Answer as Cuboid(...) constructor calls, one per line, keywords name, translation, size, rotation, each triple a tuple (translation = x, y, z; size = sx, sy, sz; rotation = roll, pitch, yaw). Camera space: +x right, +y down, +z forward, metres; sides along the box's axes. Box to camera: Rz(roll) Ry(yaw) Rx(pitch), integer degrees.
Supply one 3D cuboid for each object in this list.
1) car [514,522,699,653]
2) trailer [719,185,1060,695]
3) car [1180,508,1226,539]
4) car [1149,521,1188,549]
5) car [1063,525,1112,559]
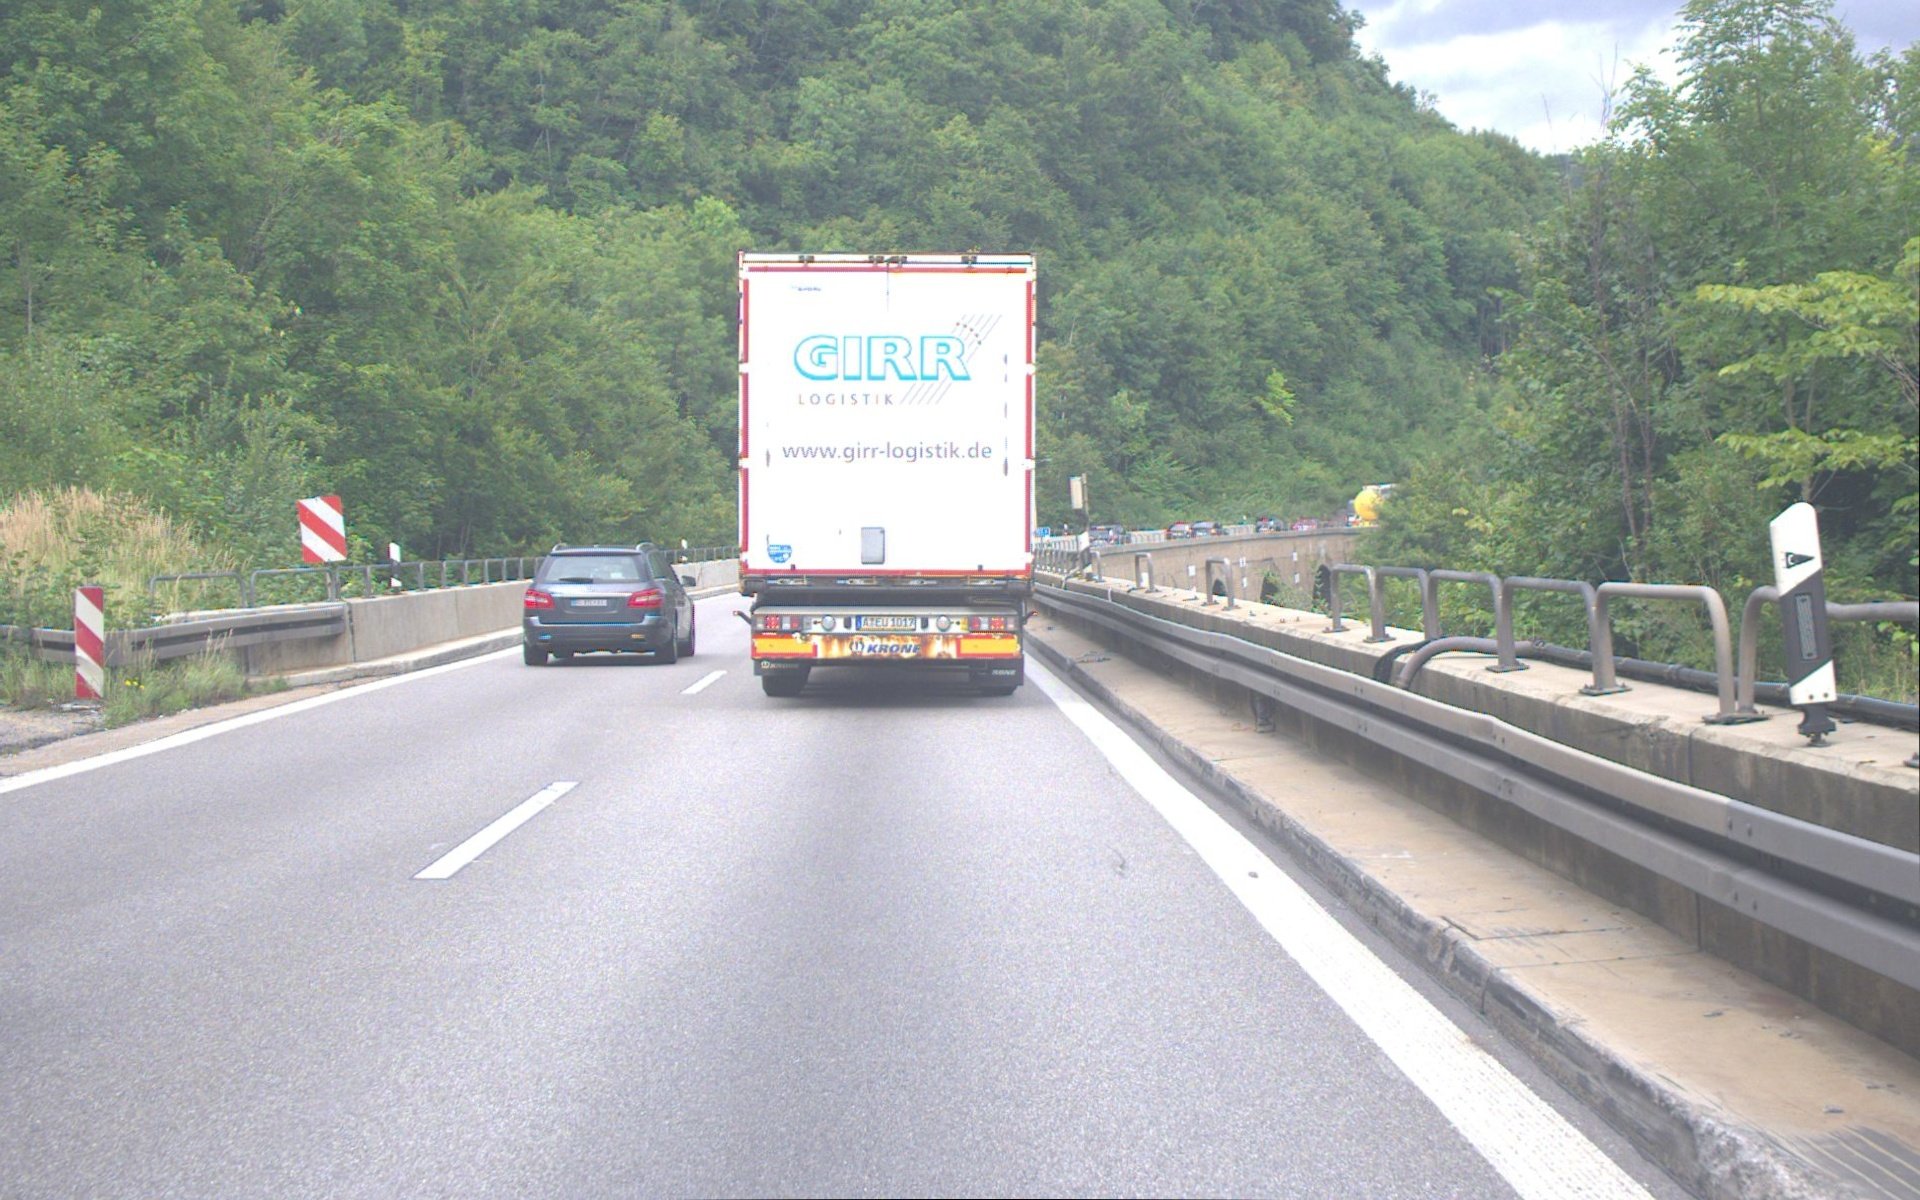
Cuboid(name="car", translation=(-4.354, -0.173, 42.919), size=(1.883, 1.505, 4.419), rotation=(-1, 1, -1))
Cuboid(name="trailer", translation=(-0.648, -1.434, 35.401), size=(2.813, 4.288, 12.245), rotation=(-1, 1, 0))
Cuboid(name="car", translation=(14.386, -4.501, 203.074), size=(1.995, 1.788, 3.997), rotation=(-1, 0, 15))
Cuboid(name="car", translation=(13.051, -4.076, 215.235), size=(1.994, 1.678, 3.998), rotation=(-1, 0, 9))
Cuboid(name="car", translation=(6.467, -2.938, 174.057), size=(1.994, 1.678, 3.998), rotation=(-1, 0, 9))
